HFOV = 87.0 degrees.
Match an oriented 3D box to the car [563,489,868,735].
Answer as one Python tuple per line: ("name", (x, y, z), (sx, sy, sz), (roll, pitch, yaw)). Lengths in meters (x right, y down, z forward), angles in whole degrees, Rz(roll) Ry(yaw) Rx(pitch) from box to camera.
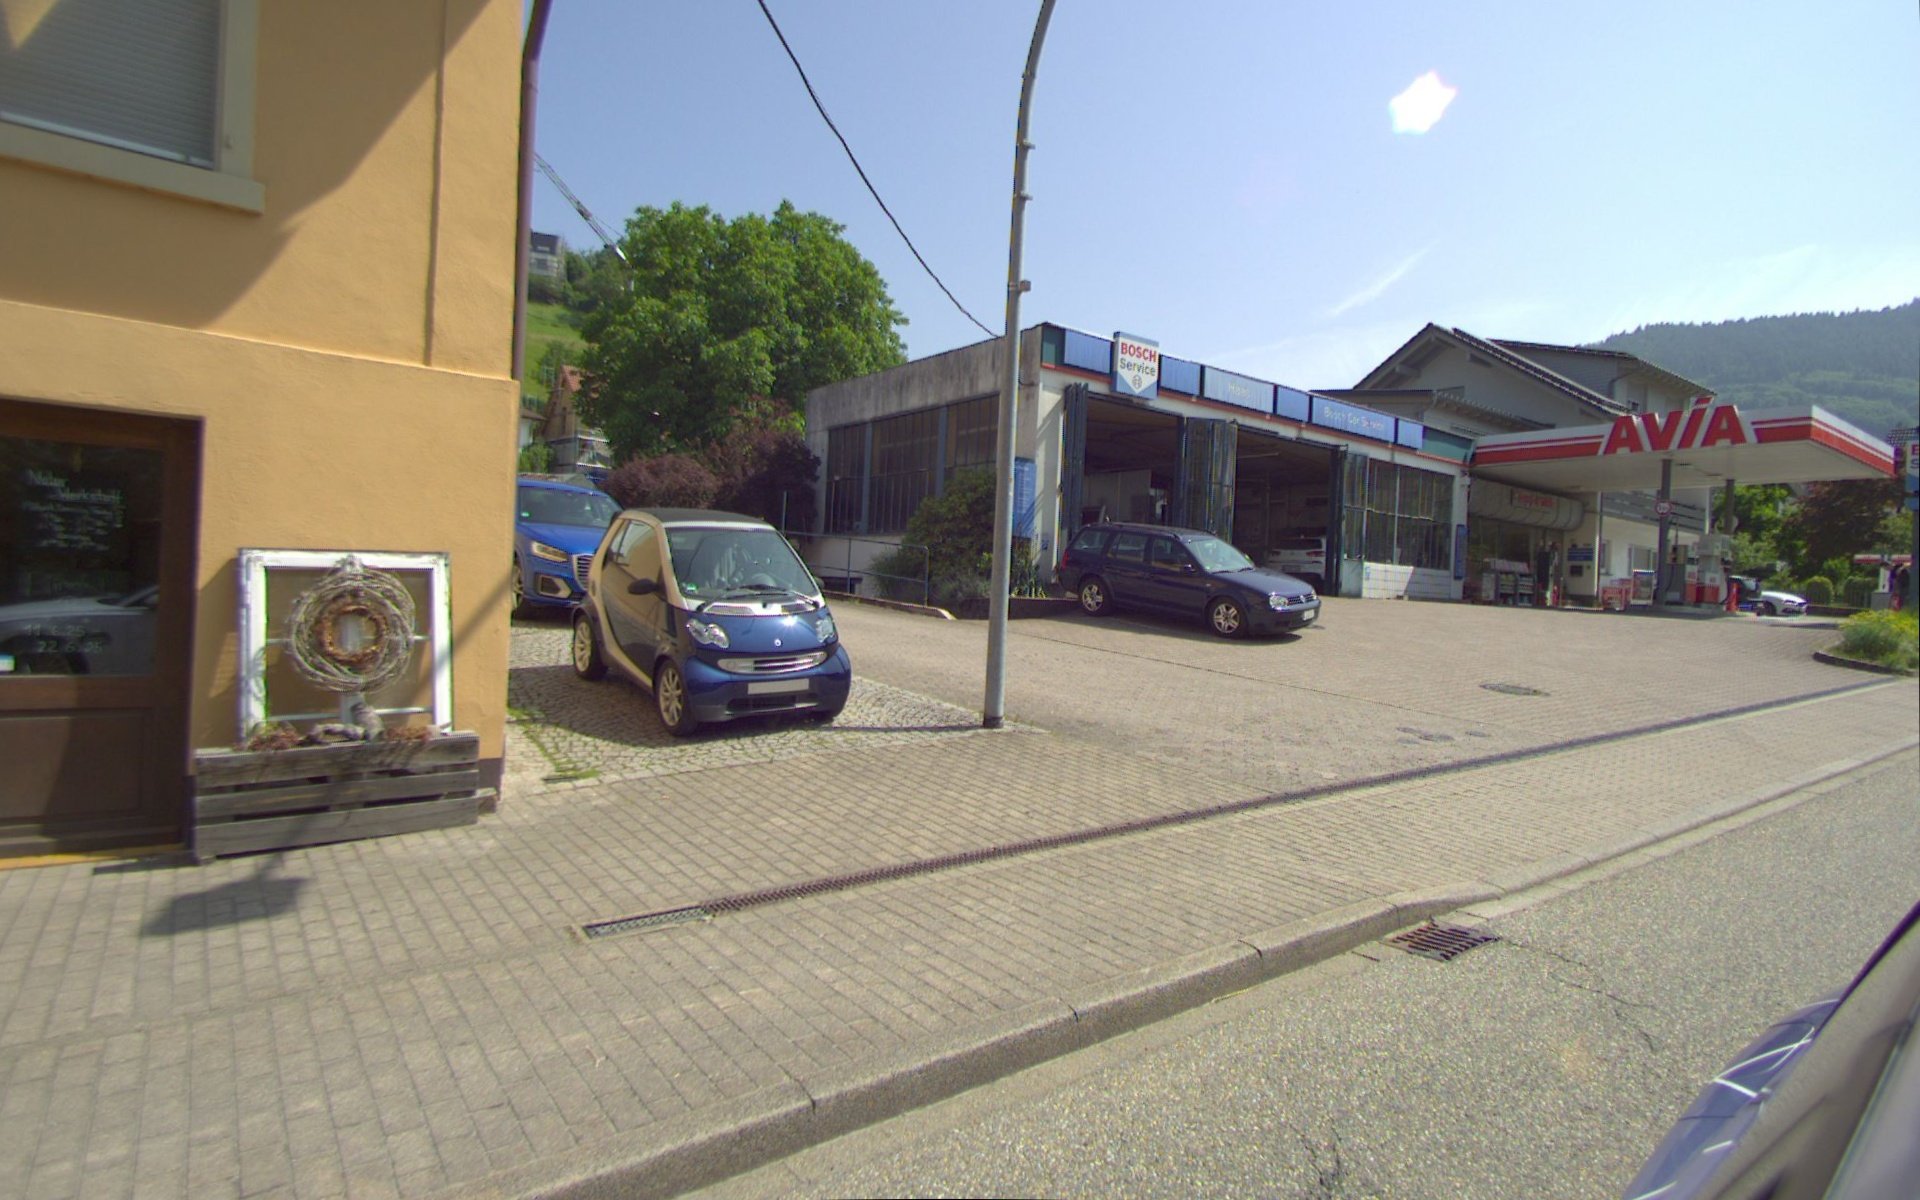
("car", (-2.129, -0.036, 8.411), (1.400, 1.553, 2.662), (-2, 9, -40))

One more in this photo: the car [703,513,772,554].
("car", (-10.103, -3.041, 45.770), (1.648, 1.573, 3.915), (-1, 7, -35))

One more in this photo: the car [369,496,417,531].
("car", (-25.905, -3.964, 46.197), (1.321, 1.386, 3.212), (-1, 7, -41))

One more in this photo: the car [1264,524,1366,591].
("car", (10.163, -1.251, 28.825), (1.598, 1.707, 3.880), (7, 7, 36))

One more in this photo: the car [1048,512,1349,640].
("car", (3.644, -0.497, 16.086), (1.771, 1.562, 4.324), (-3, 8, -44))

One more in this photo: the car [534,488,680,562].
("car", (-9.543, -2.042, 27.107), (1.966, 1.663, 4.873), (-2, 7, -42))

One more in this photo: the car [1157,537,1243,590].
("car", (7.219, -1.091, 30.739), (1.518, 1.423, 3.481), (4, 1, -4))

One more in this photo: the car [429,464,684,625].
("car", (-5.113, -0.770, 12.509), (1.705, 1.644, 3.933), (0, 6, -41))

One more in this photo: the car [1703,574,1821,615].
("car", (29.254, -0.220, 36.968), (1.310, 1.157, 3.085), (-1, 7, -37))

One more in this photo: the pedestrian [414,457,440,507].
("pedestrian", (-27.129, -6.014, 51.544), (0.817, 2.459, 0.822), (5, 5, 21))

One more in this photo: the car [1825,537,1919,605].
("car", (24.780, -0.777, 26.893), (3.837, 1.595, 1.699), (-1, 6, -35))
